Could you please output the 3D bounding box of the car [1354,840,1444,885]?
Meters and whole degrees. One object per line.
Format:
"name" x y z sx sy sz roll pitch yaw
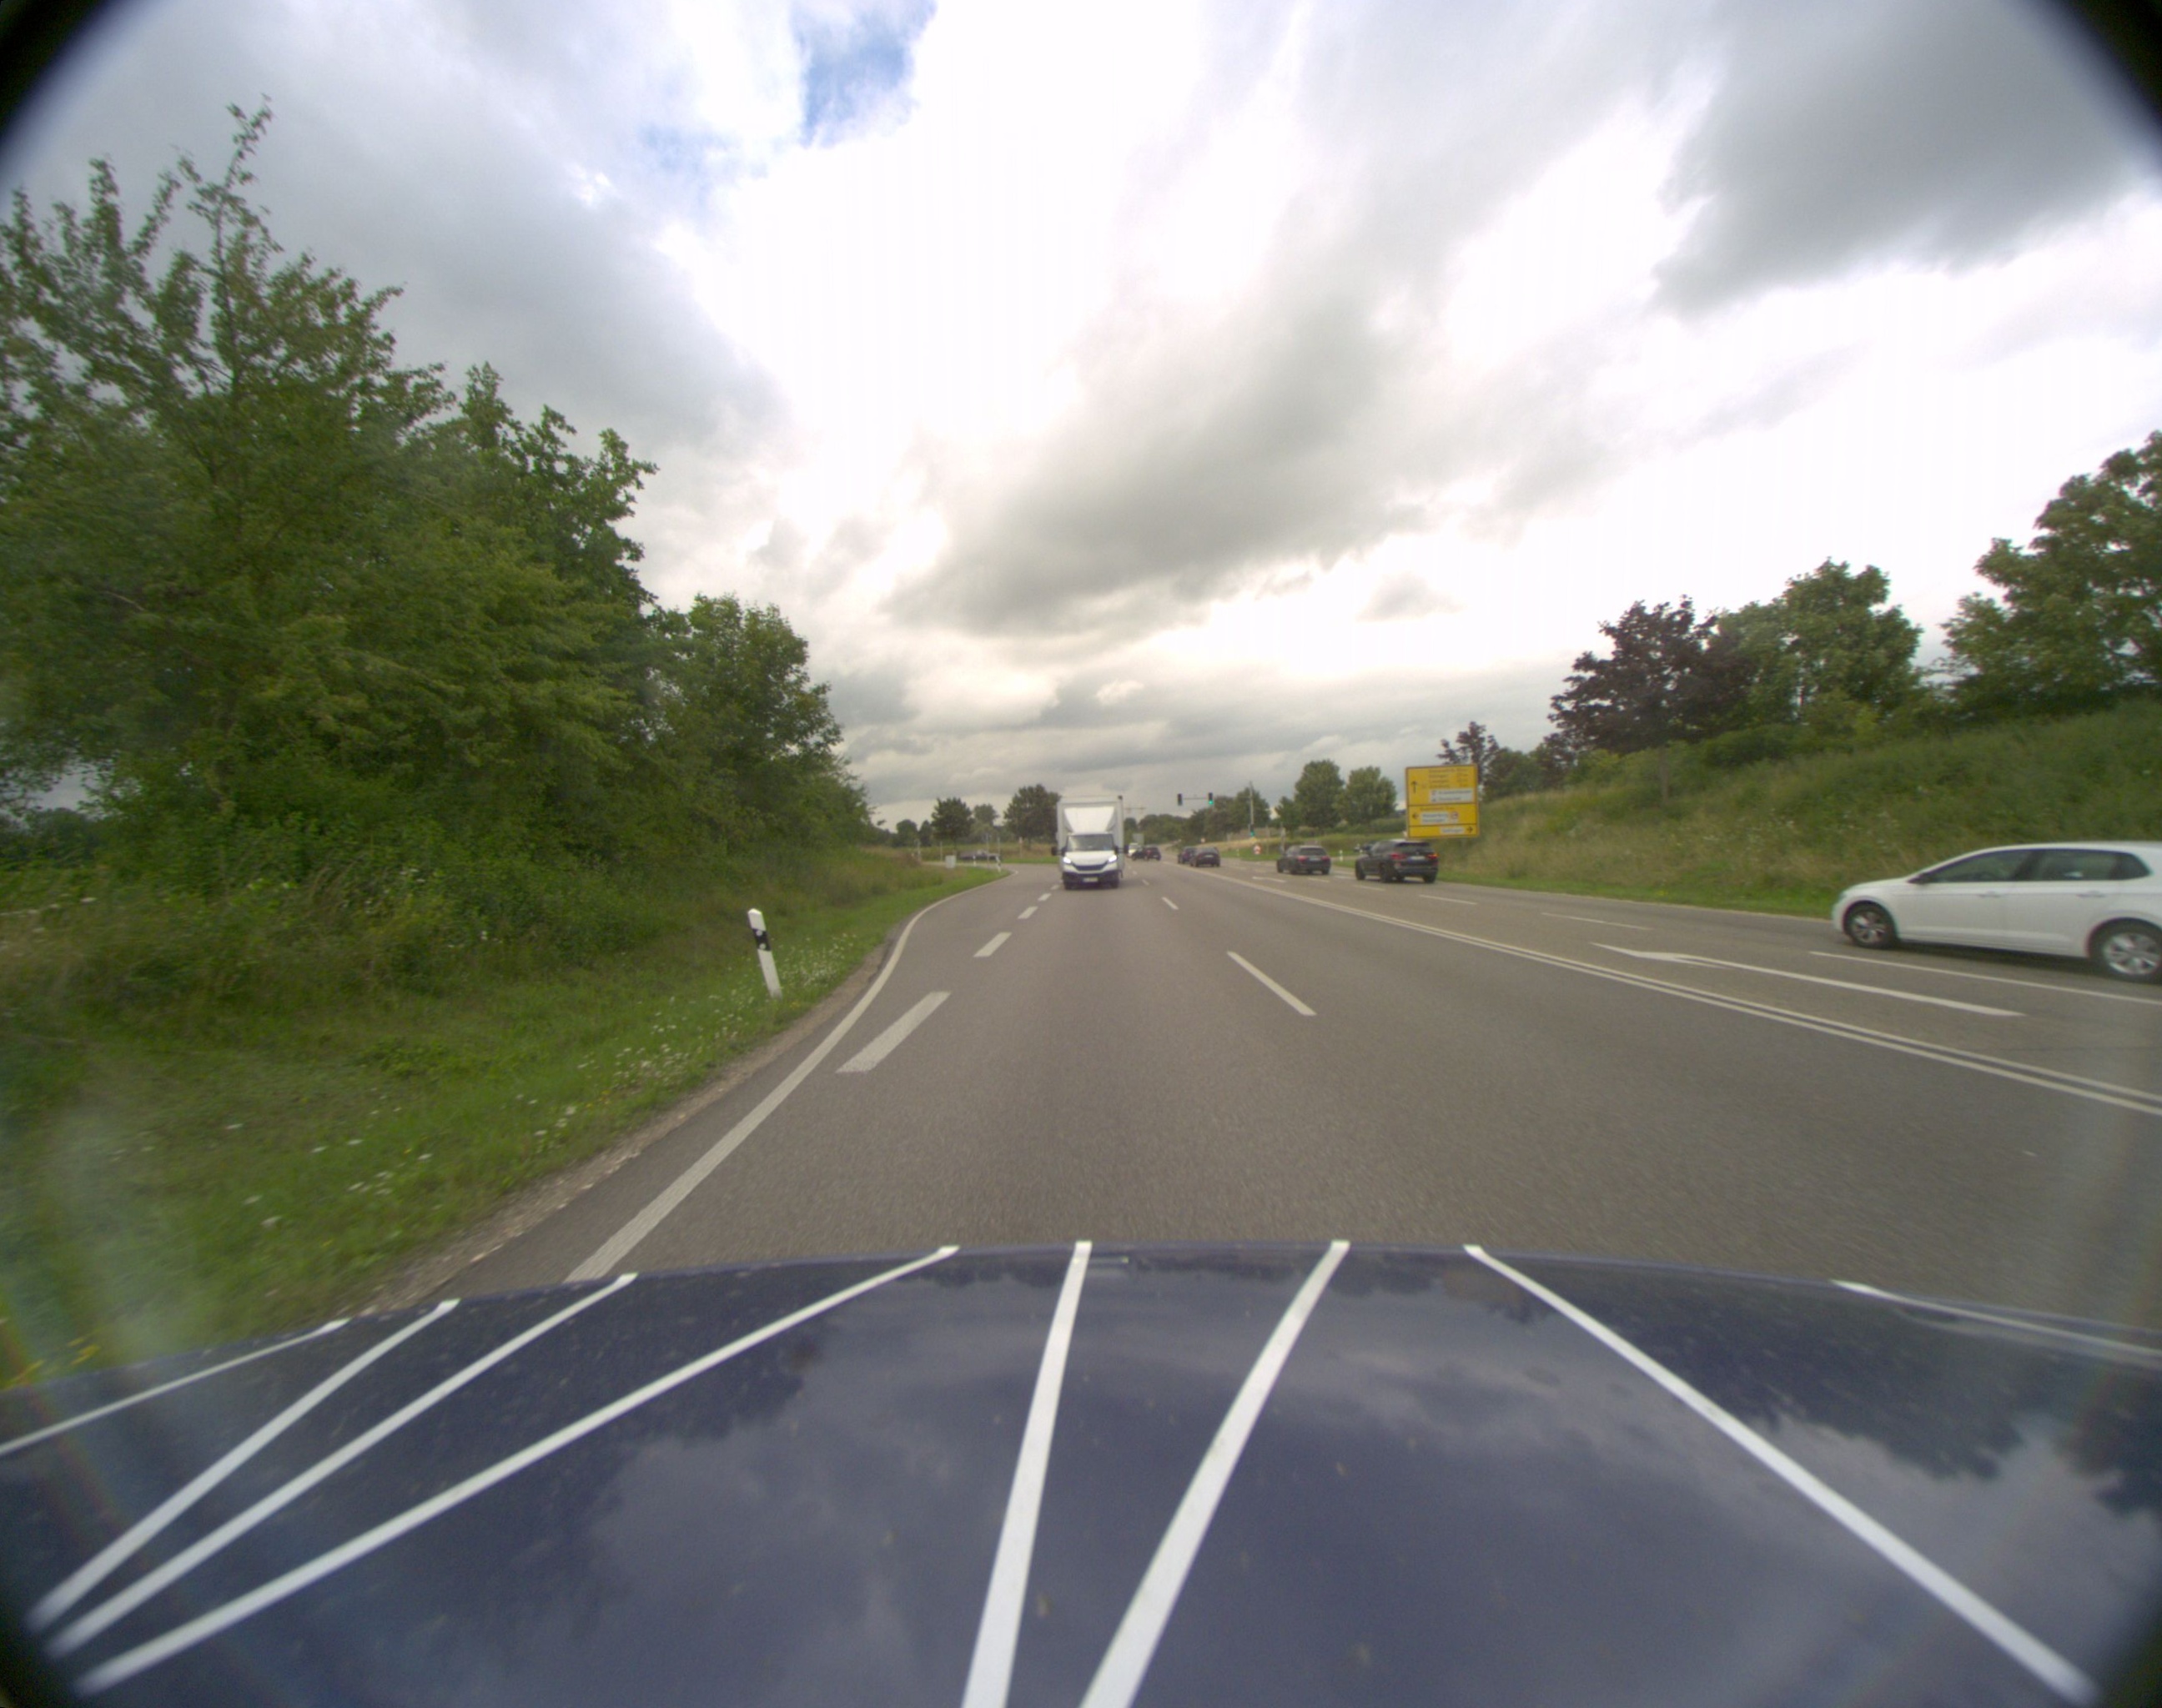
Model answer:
"car" 12.391 0.278 29.905 1.860 1.587 4.398 -1 1 2

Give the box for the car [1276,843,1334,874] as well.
"car" 11.368 0.182 38.813 1.727 1.472 4.659 -1 1 2

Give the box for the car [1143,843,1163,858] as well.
"car" 7.604 -0.390 80.159 1.860 1.587 3.675 -1 1 2

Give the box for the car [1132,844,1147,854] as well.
"car" 7.844 -0.734 102.218 1.860 1.274 4.000 -1 1 2

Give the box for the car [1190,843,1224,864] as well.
"car" 9.054 -0.075 54.851 1.860 1.399 4.185 -1 1 2

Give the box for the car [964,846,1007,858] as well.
"car" -10.297 -0.207 82.274 4.345 1.215 1.865 -2 1 5

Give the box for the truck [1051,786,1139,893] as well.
"truck" 0.357 -0.550 31.232 2.935 3.653 8.440 -3 1 -2

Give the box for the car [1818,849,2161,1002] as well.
"car" 11.256 0.687 8.729 1.612 1.406 4.055 -2 1 0

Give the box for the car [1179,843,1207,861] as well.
"car" 9.420 -0.172 63.999 1.860 1.441 4.000 -1 1 2

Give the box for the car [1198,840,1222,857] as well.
"car" 13.772 -0.616 81.264 1.855 1.706 4.128 -3 1 0
